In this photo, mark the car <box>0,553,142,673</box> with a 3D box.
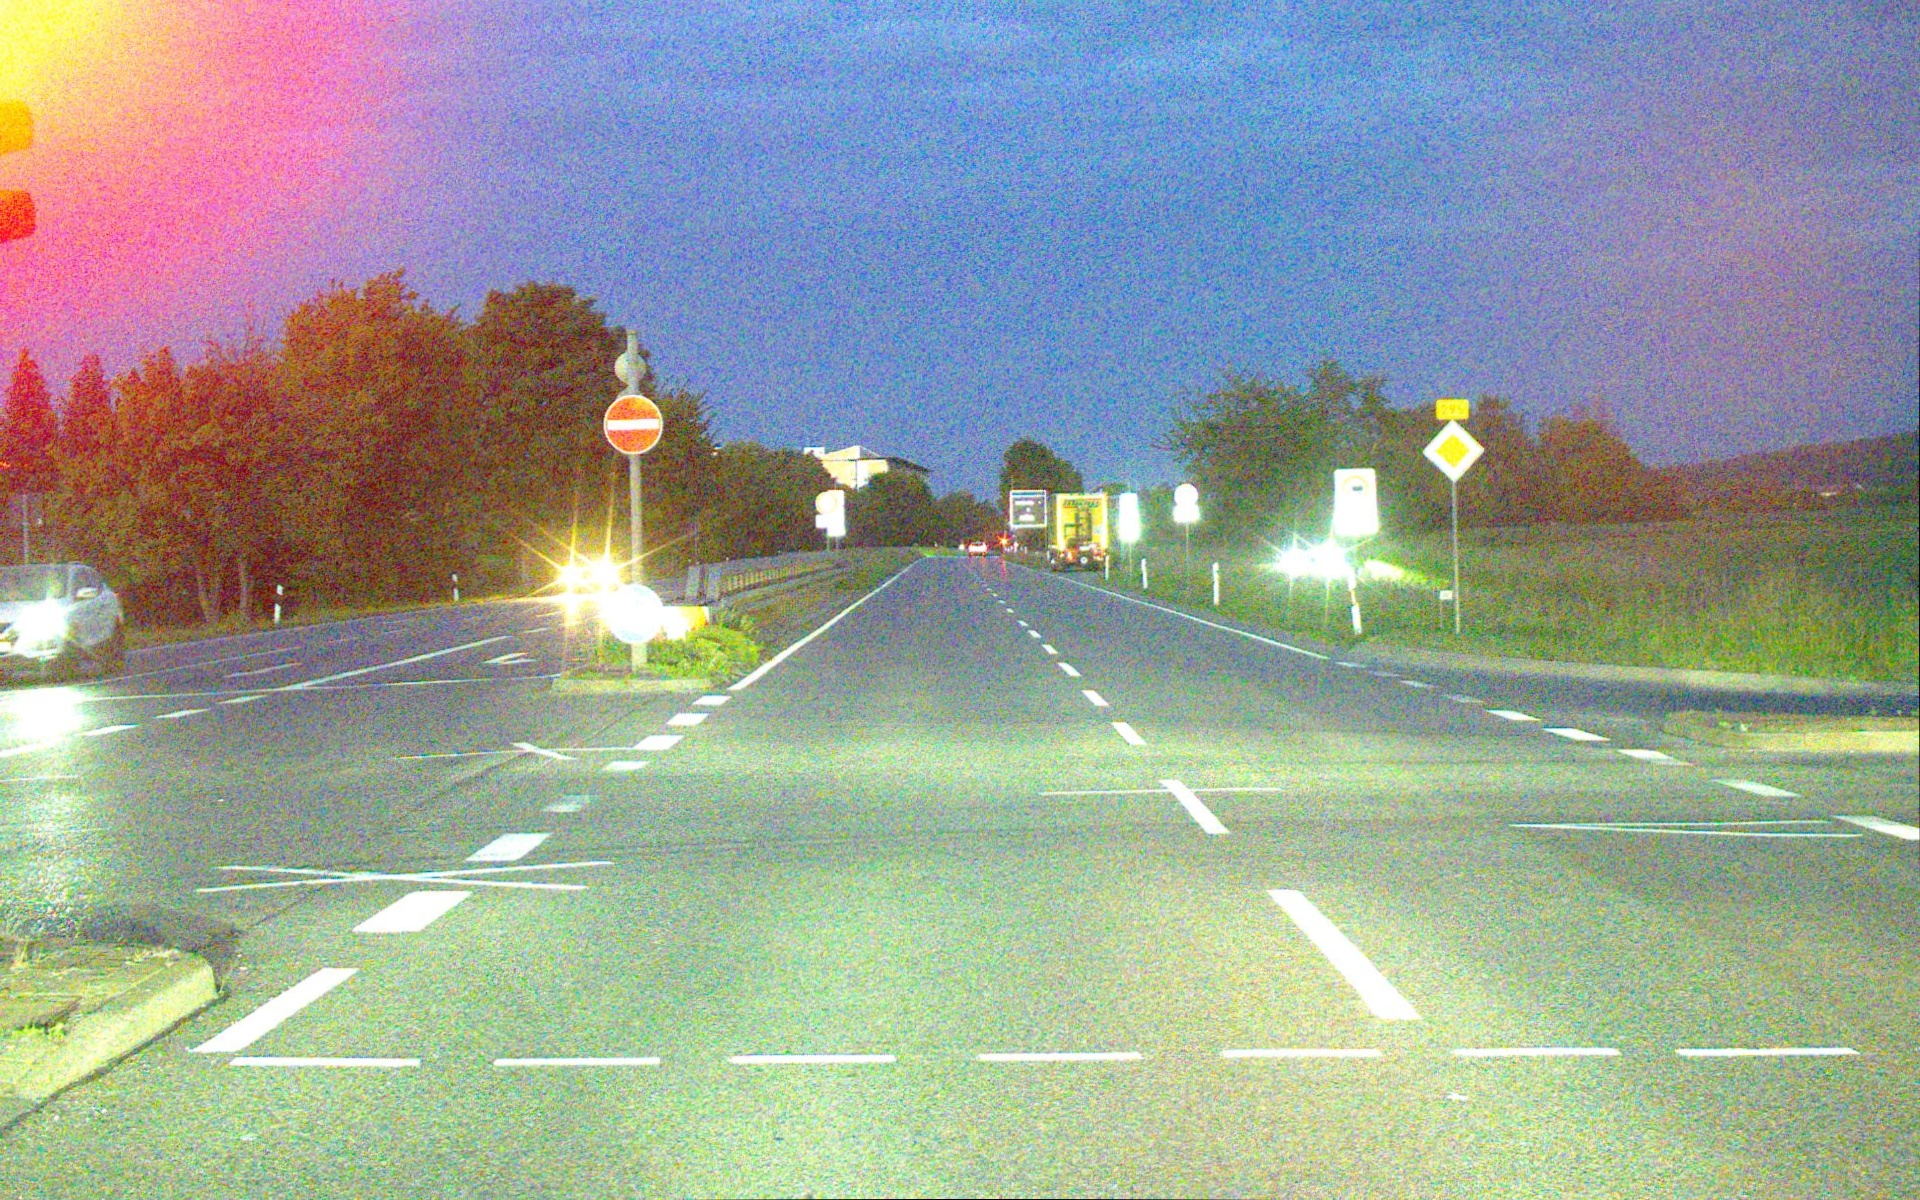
[{"bbox_3d":[-12.665,0.151,46.942,1.993,1.514,4.298,-1,1,-1],"label":"car"}]

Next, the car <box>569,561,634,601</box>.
[{"bbox_3d":[-13.154,-0.698,126.460,1.993,1.382,4.000,-1,1,-1],"label":"car"}]
